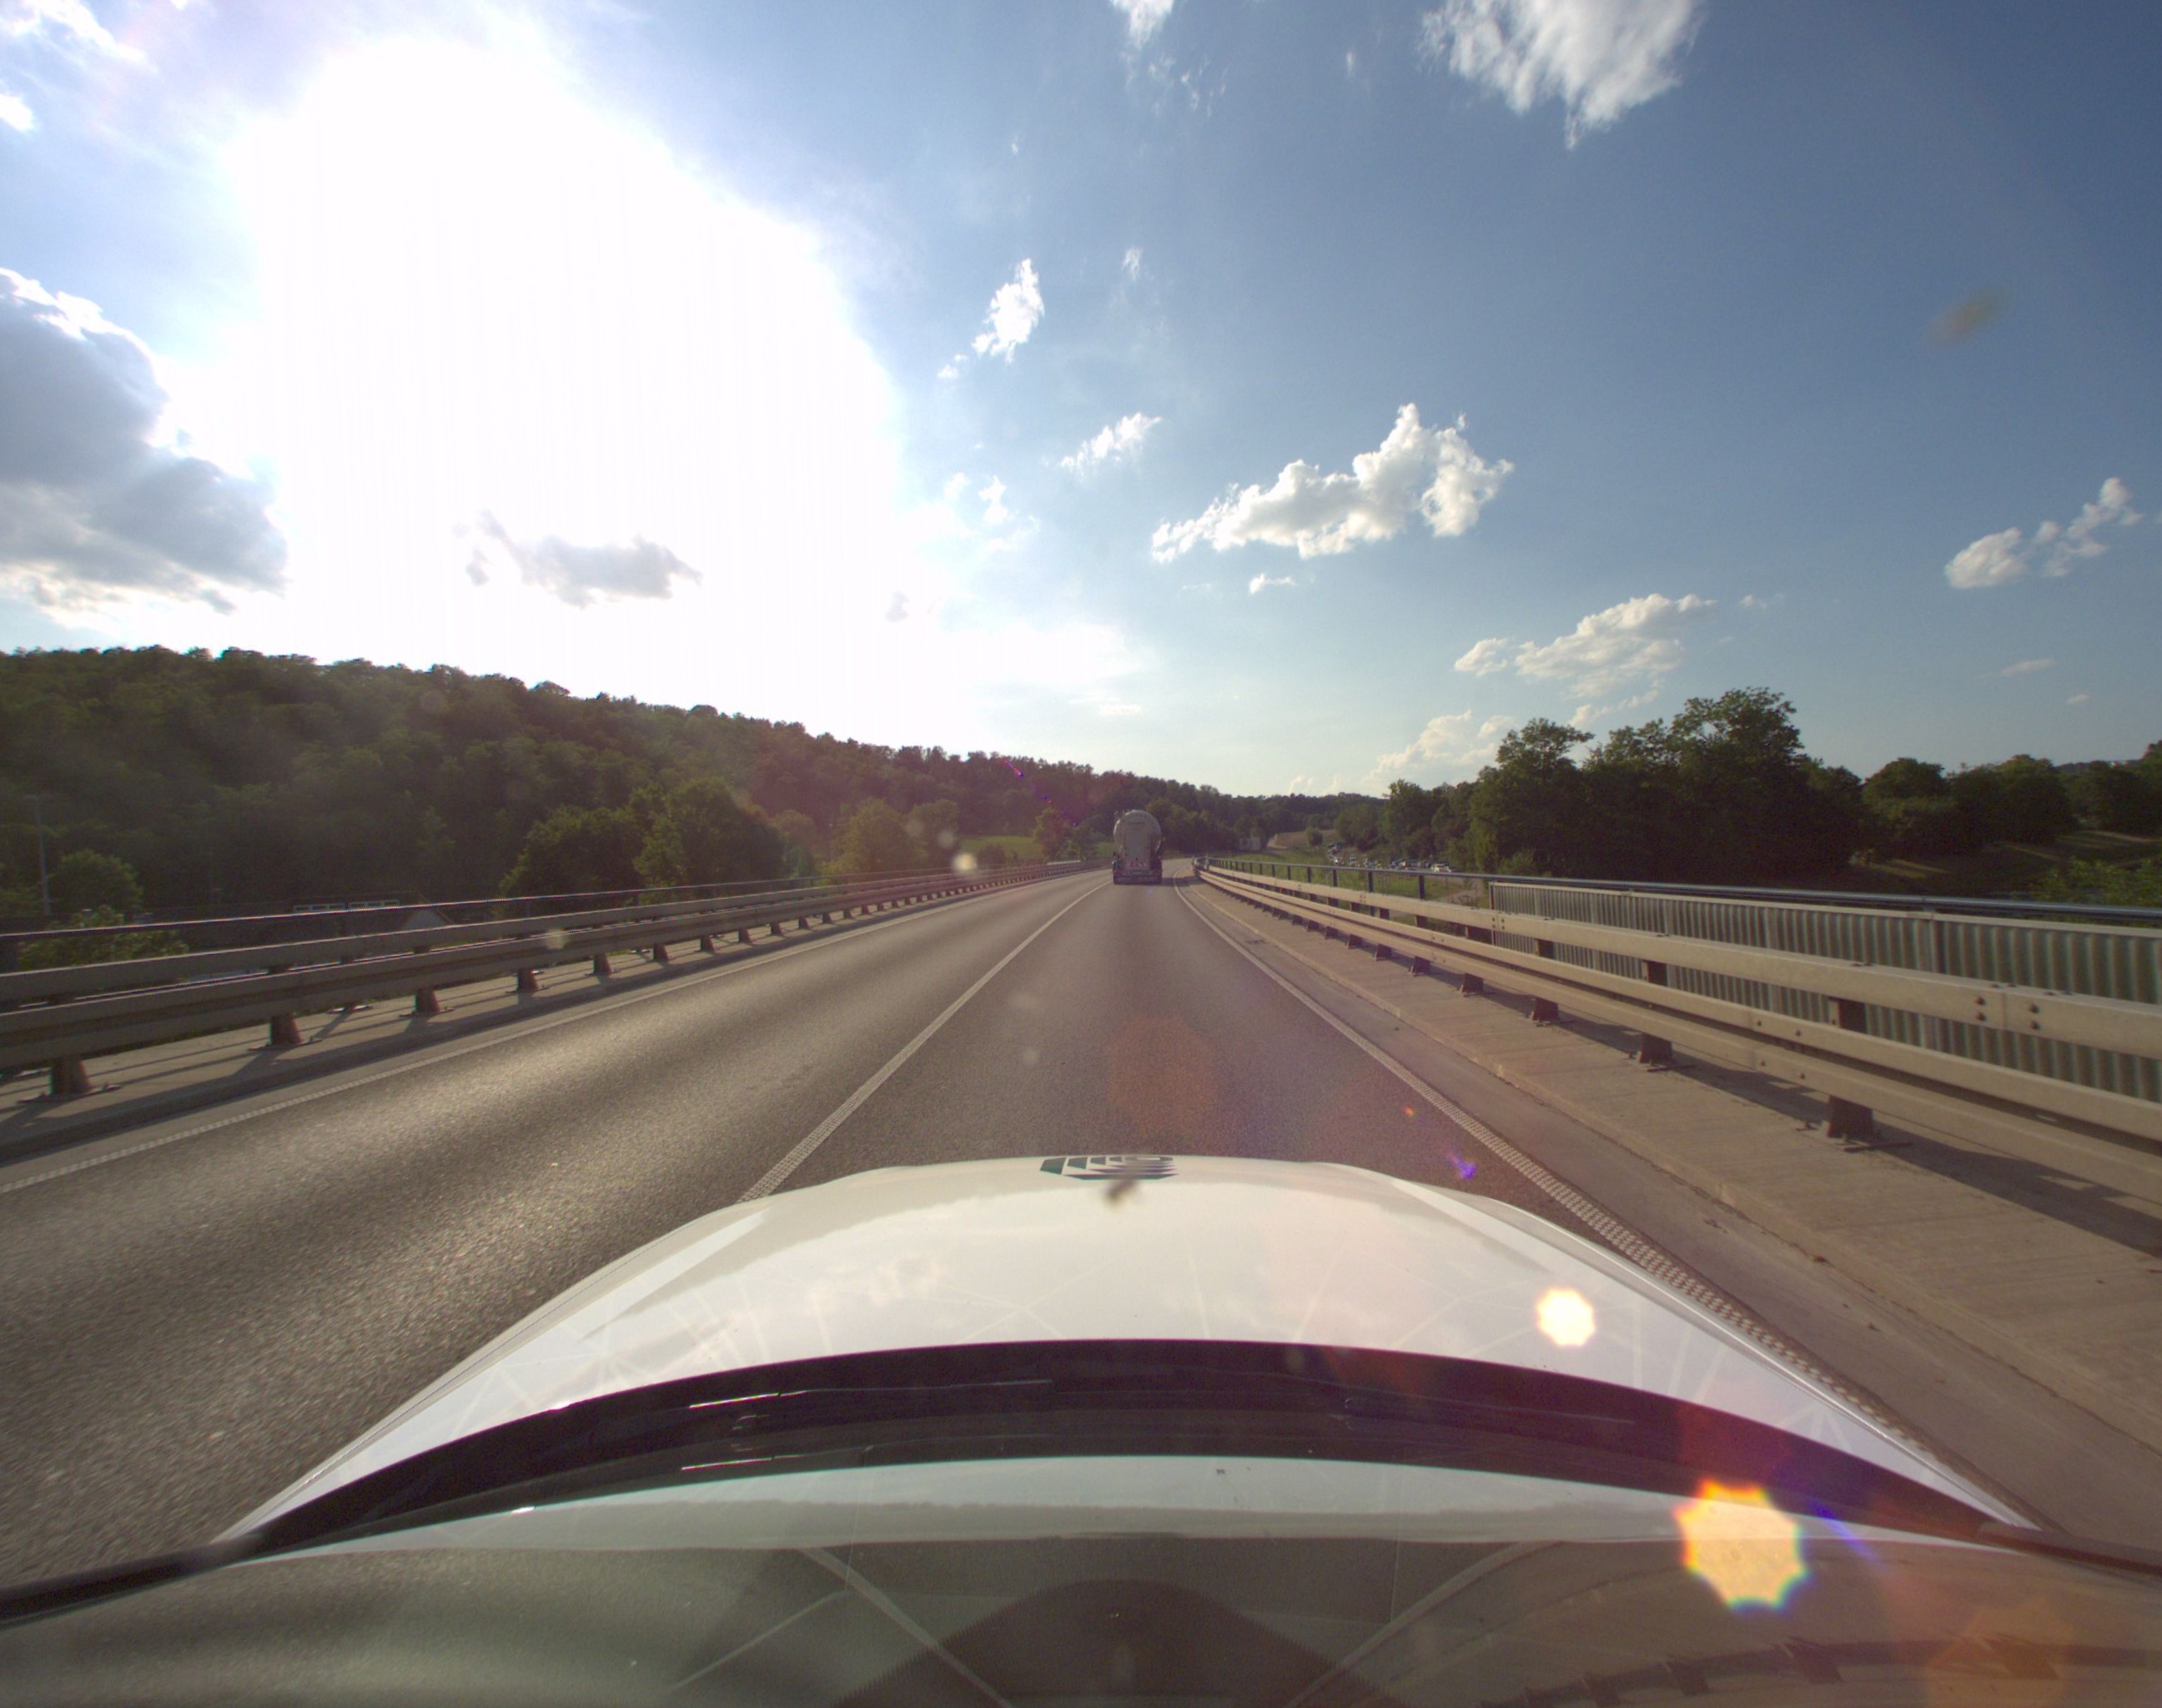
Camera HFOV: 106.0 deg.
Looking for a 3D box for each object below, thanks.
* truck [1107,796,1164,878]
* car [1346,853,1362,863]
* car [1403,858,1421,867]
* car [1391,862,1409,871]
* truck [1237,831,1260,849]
[{"bbox_3d":[3.354,-0.885,47.886,2.879,4.142,13.191,0,0,5],"label":"truck"},{"bbox_3d":[61.980,0.861,185.196,2.109,2.017,5.388,-5,1,5],"label":"car"},{"bbox_3d":[58.298,1.464,143.361,1.647,1.496,4.227,-2,0,3],"label":"car"},{"bbox_3d":[58.696,2.331,149.879,1.811,1.401,4.258,-3,1,1],"label":"car"},{"bbox_3d":[40.955,-3.470,198.990,3.156,4.227,13.243,-1,1,21],"label":"truck"}]
